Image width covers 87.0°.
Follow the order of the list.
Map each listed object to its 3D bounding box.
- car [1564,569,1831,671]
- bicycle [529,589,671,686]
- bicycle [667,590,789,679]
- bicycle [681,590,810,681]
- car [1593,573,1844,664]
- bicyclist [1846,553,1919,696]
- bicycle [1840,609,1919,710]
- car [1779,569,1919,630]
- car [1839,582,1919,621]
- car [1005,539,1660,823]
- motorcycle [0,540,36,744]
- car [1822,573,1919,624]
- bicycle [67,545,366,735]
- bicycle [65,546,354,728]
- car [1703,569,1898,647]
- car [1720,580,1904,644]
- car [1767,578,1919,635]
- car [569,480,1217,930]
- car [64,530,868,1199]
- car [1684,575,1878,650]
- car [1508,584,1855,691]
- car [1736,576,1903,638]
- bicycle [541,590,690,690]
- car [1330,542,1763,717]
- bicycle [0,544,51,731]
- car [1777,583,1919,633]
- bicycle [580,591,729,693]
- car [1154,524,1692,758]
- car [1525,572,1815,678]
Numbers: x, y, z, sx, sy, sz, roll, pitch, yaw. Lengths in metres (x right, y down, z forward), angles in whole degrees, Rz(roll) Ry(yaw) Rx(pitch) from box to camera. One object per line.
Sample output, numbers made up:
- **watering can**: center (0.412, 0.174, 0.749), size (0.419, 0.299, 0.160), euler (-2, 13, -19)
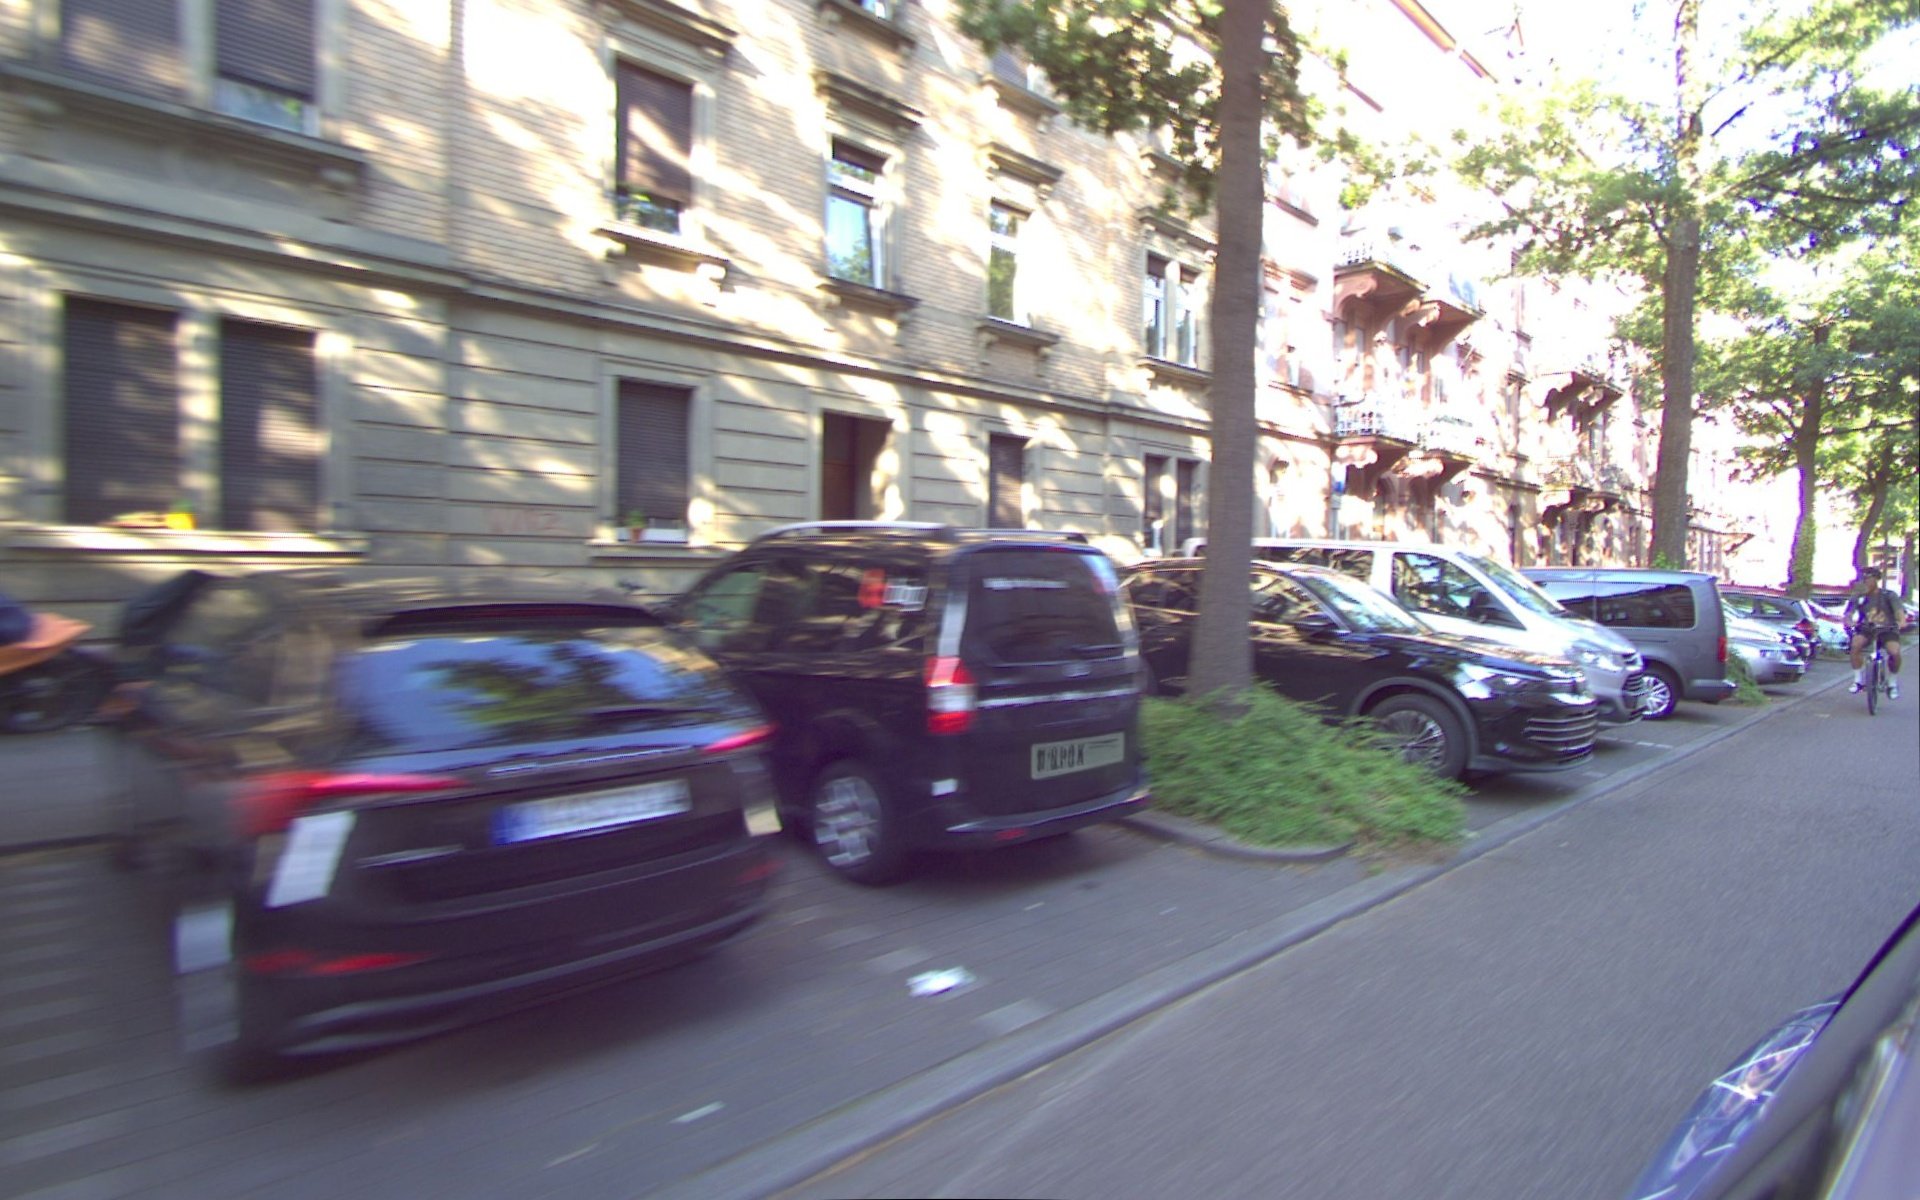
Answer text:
- **car**: center (15.245, 0.357, 21.097), size (1.752, 1.910, 4.238), euler (0, 0, -41)
- **bicycle**: center (-3.826, 0.374, 10.838), size (1.430, 0.979, 0.283), euler (0, 1, -42)
- **bicycle**: center (-2.681, 0.383, 11.793), size (1.430, 0.979, 0.283), euler (0, 1, -42)
- **bicycle**: center (-2.426, 0.382, 11.540), size (1.430, 0.979, 0.396), euler (0, 1, -42)
- **car**: center (16.977, 0.341, 22.806), size (1.710, 1.607, 4.237), euler (0, 4, -44)
- **bicyclist**: center (12.902, 0.318, 14.084), size (1.101, 1.899, 0.711), euler (0, 2, -43)
- **bicycle**: center (12.848, 0.781, 14.070), size (1.856, 1.275, 0.711), euler (0, 2, -43)
- **car**: center (36.744, -0.036, 41.383), size (1.893, 2.000, 4.699), euler (0, 6, -42)
- **car**: center (45.846, 0.111, 49.454), size (1.750, 1.548, 4.056), euler (0, 6, -42)
- **car**: center (2.936, 0.408, 8.849), size (4.923, 1.652, 2.045), euler (6, 4, 44)
- **motorcycle**: center (-7.076, 0.273, 6.360), size (1.853, 1.335, 0.763), euler (0, 1, -45)
- **car**: center (42.175, -0.062, 46.134), size (1.750, 1.956, 4.056), euler (0, 6, -42)
- **bicycle**: center (-5.735, 0.274, 7.906), size (1.853, 1.335, 0.368), euler (0, 1, -45)
- **bicycle**: center (-6.025, 0.260, 8.218), size (1.853, 1.335, 0.368), euler (0, 1, -45)
- **car**: center (24.492, 0.166, 29.612), size (1.750, 1.909, 4.057), euler (0, 4, -41)
- **car**: center (26.219, 0.310, 31.262), size (1.750, 1.599, 4.057), euler (0, 4, -41)
- **car**: center (32.954, 0.178, 37.784), size (1.750, 1.640, 4.057), euler (0, 6, -42)
- **car**: center (-0.717, 0.366, 6.274), size (1.911, 1.810, 4.133), euler (0, 1, -41)
- **car**: center (-2.438, 0.495, 4.293), size (1.905, 1.473, 4.150), euler (0, 3, -44)
- **car**: center (22.660, 0.277, 28.045), size (1.708, 1.702, 3.843), euler (0, 4, -41)
- **car**: center (12.117, 0.526, 17.259), size (1.870, 1.384, 4.467), euler (0, 3, -41)
- **car**: center (29.471, 0.191, 34.800), size (1.750, 1.640, 4.057), euler (0, 6, -42)
- **bicycle**: center (-3.568, 0.386, 10.545), size (1.430, 0.979, 0.396), euler (0, 1, -42)
- **car**: center (7.525, 0.272, 13.531), size (4.632, 1.913, 1.891), euler (3, 2, 26)
- **bicycle**: center (-7.449, 0.268, 6.896), size (1.853, 1.335, 0.368), euler (0, 1, -45)
- **car**: center (34.797, 0.254, 39.606), size (1.750, 1.472, 4.056), euler (0, 6, -42)
- **bicycle**: center (-3.109, 0.399, 10.380), size (1.430, 0.979, 0.396), euler (0, 1, -42)
- **car**: center (4.873, 0.224, 11.211), size (4.923, 1.924, 2.142), euler (6, 4, 44)
- **car**: center (13.397, 0.378, 19.273), size (1.872, 1.623, 4.235), euler (0, 3, -45)
